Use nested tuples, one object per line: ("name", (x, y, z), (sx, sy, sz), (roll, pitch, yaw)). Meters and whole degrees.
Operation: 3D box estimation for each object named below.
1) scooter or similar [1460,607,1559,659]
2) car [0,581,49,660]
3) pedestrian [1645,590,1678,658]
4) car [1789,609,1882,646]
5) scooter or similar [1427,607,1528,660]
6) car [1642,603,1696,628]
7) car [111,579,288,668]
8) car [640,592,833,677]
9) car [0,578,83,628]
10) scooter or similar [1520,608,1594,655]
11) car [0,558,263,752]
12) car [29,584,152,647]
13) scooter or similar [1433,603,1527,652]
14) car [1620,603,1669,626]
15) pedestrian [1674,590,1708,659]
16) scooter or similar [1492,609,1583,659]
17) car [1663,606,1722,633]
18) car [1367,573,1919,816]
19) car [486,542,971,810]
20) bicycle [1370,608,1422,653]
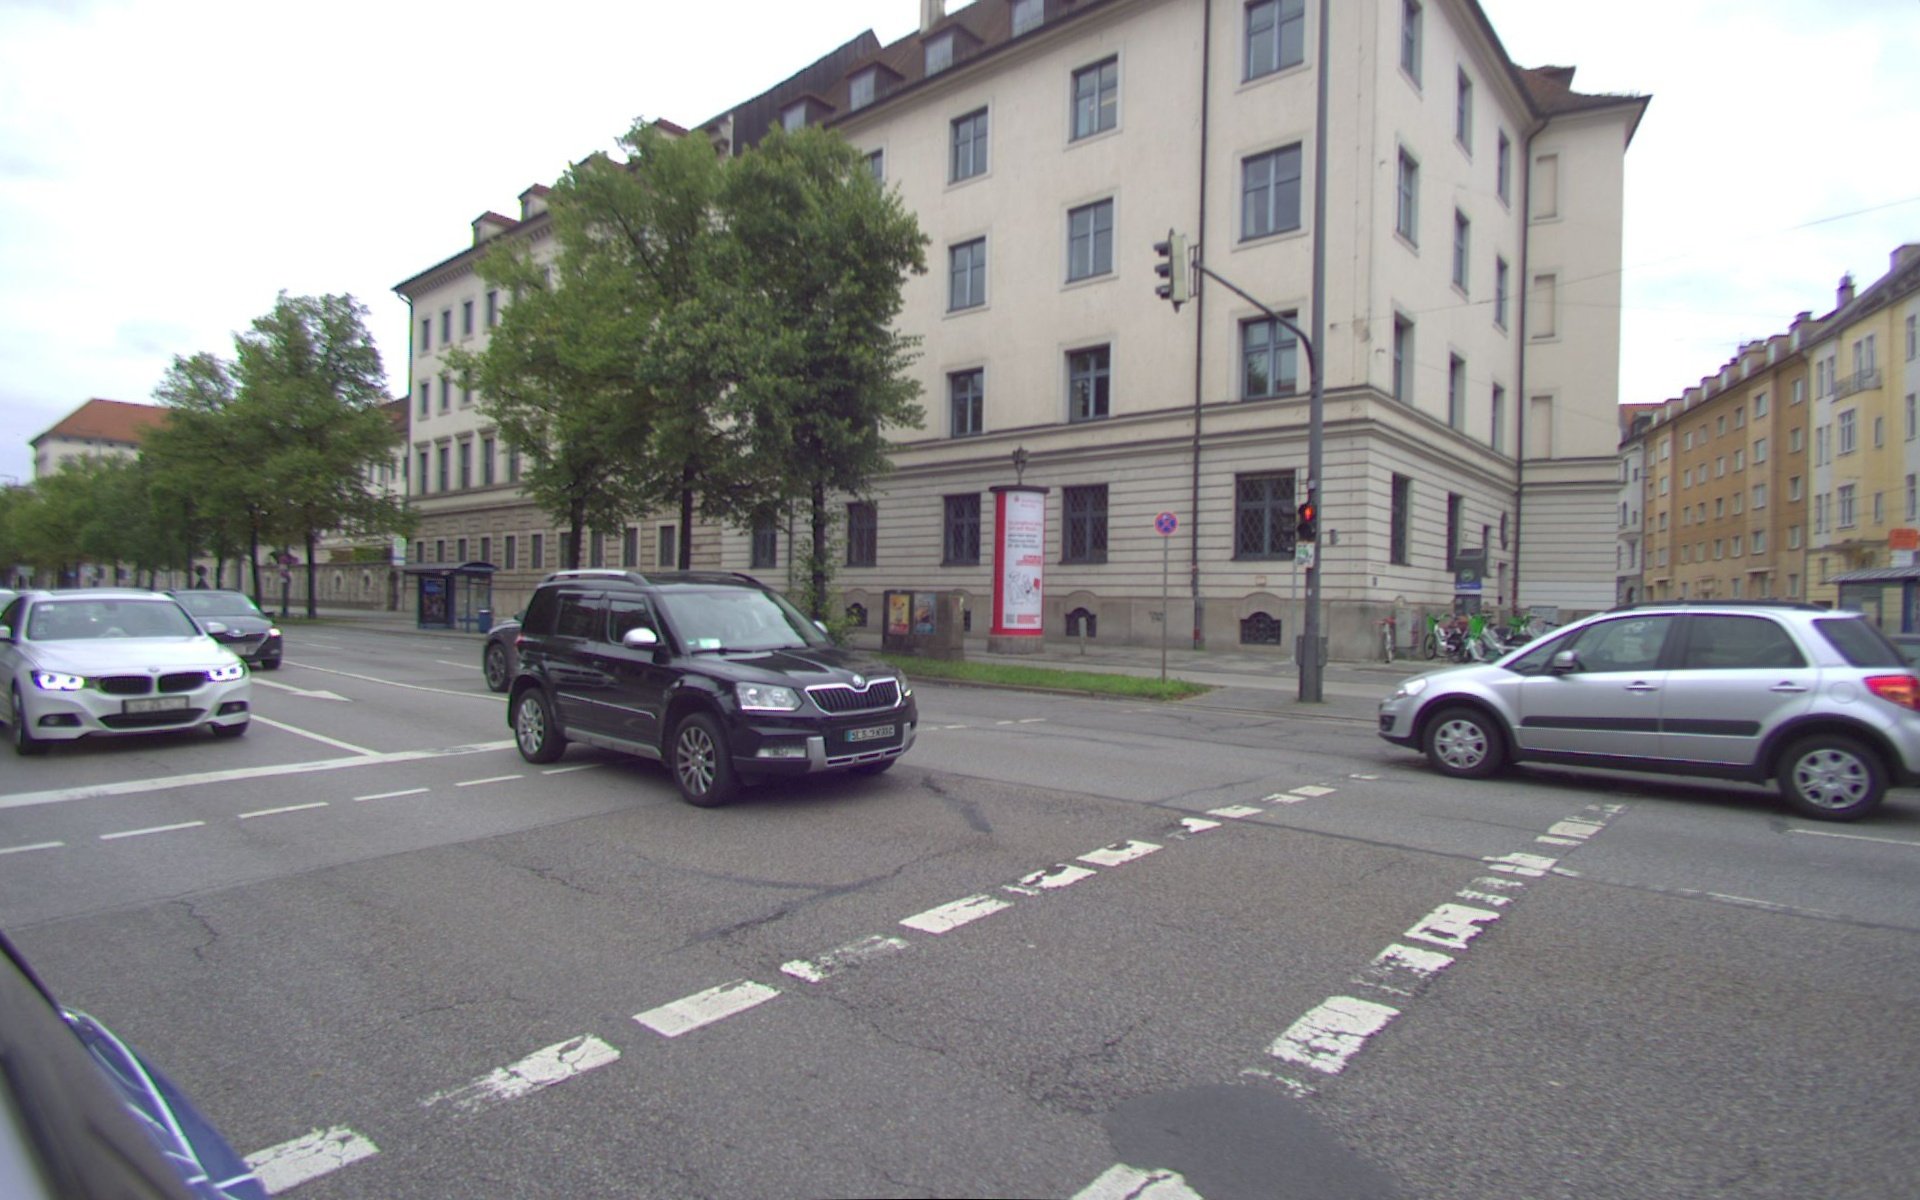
("scooter or similar", (12.884, 0.756, 23.774), (1.947, 1.127, 0.681), (1, 1, 42))
("car", (-19.629, 0.344, 20.096), (4.273, 1.458, 1.774), (1, 0, 41))
("pedestrian", (19.759, 0.659, 28.512), (0.660, 1.866, 0.797), (1, 1, 42))
("car", (40.312, 1.242, 46.717), (1.984, 1.608, 3.698), (1, 0, 19))
("scooter or similar", (11.939, 0.756, 23.396), (0.680, 1.127, 1.950), (-1, 1, -43))
("car", (47.696, 1.049, 68.168), (1.984, 1.608, 3.698), (1, 0, 19))
("car", (-14.332, 0.374, 18.988), (4.273, 1.458, 1.774), (1, 0, 41))
("car", (-4.848, 0.659, 21.583), (4.443, 1.598, 1.705), (1, 0, 41))
("car", (-29.160, 0.071, 31.849), (4.273, 1.458, 1.774), (1, 0, 41))
("scooter or similar", (15.323, 0.800, 25.994), (1.546, 1.127, 0.539), (1, 1, 42))
("car", (-9.333, 0.431, 10.921), (5.024, 1.649, 1.774), (1, 0, 41))
("car", (-22.405, 0.354, 26.034), (4.273, 1.458, 1.774), (1, 0, 41))
("scooter or similar", (12.824, 0.658, 25.015), (0.680, 1.127, 1.950), (-1, 1, -43))
("car", (49.440, 1.060, 73.187), (1.984, 1.608, 3.698), (1, 0, 19))
("pedestrian", (20.293, 0.667, 28.088), (0.660, 1.866, 0.797), (1, 1, 42))
("scooter or similar", (14.547, 0.829, 25.526), (1.901, 1.166, 0.681), (1, 1, 42))
("car", (45.954, 1.206, 63.590), (1.984, 1.608, 3.698), (1, 0, 19))
("car", (5.876, 0.642, 8.622), (4.163, 1.652, 1.661), (1, 0, 42))
("car", (-2.068, 0.440, 8.273), (4.202, 1.649, 1.705), (1, 0, 41))
("bicycle", (9.901, 0.676, 23.014), (0.399, 0.954, 1.281), (0, 1, -12))
